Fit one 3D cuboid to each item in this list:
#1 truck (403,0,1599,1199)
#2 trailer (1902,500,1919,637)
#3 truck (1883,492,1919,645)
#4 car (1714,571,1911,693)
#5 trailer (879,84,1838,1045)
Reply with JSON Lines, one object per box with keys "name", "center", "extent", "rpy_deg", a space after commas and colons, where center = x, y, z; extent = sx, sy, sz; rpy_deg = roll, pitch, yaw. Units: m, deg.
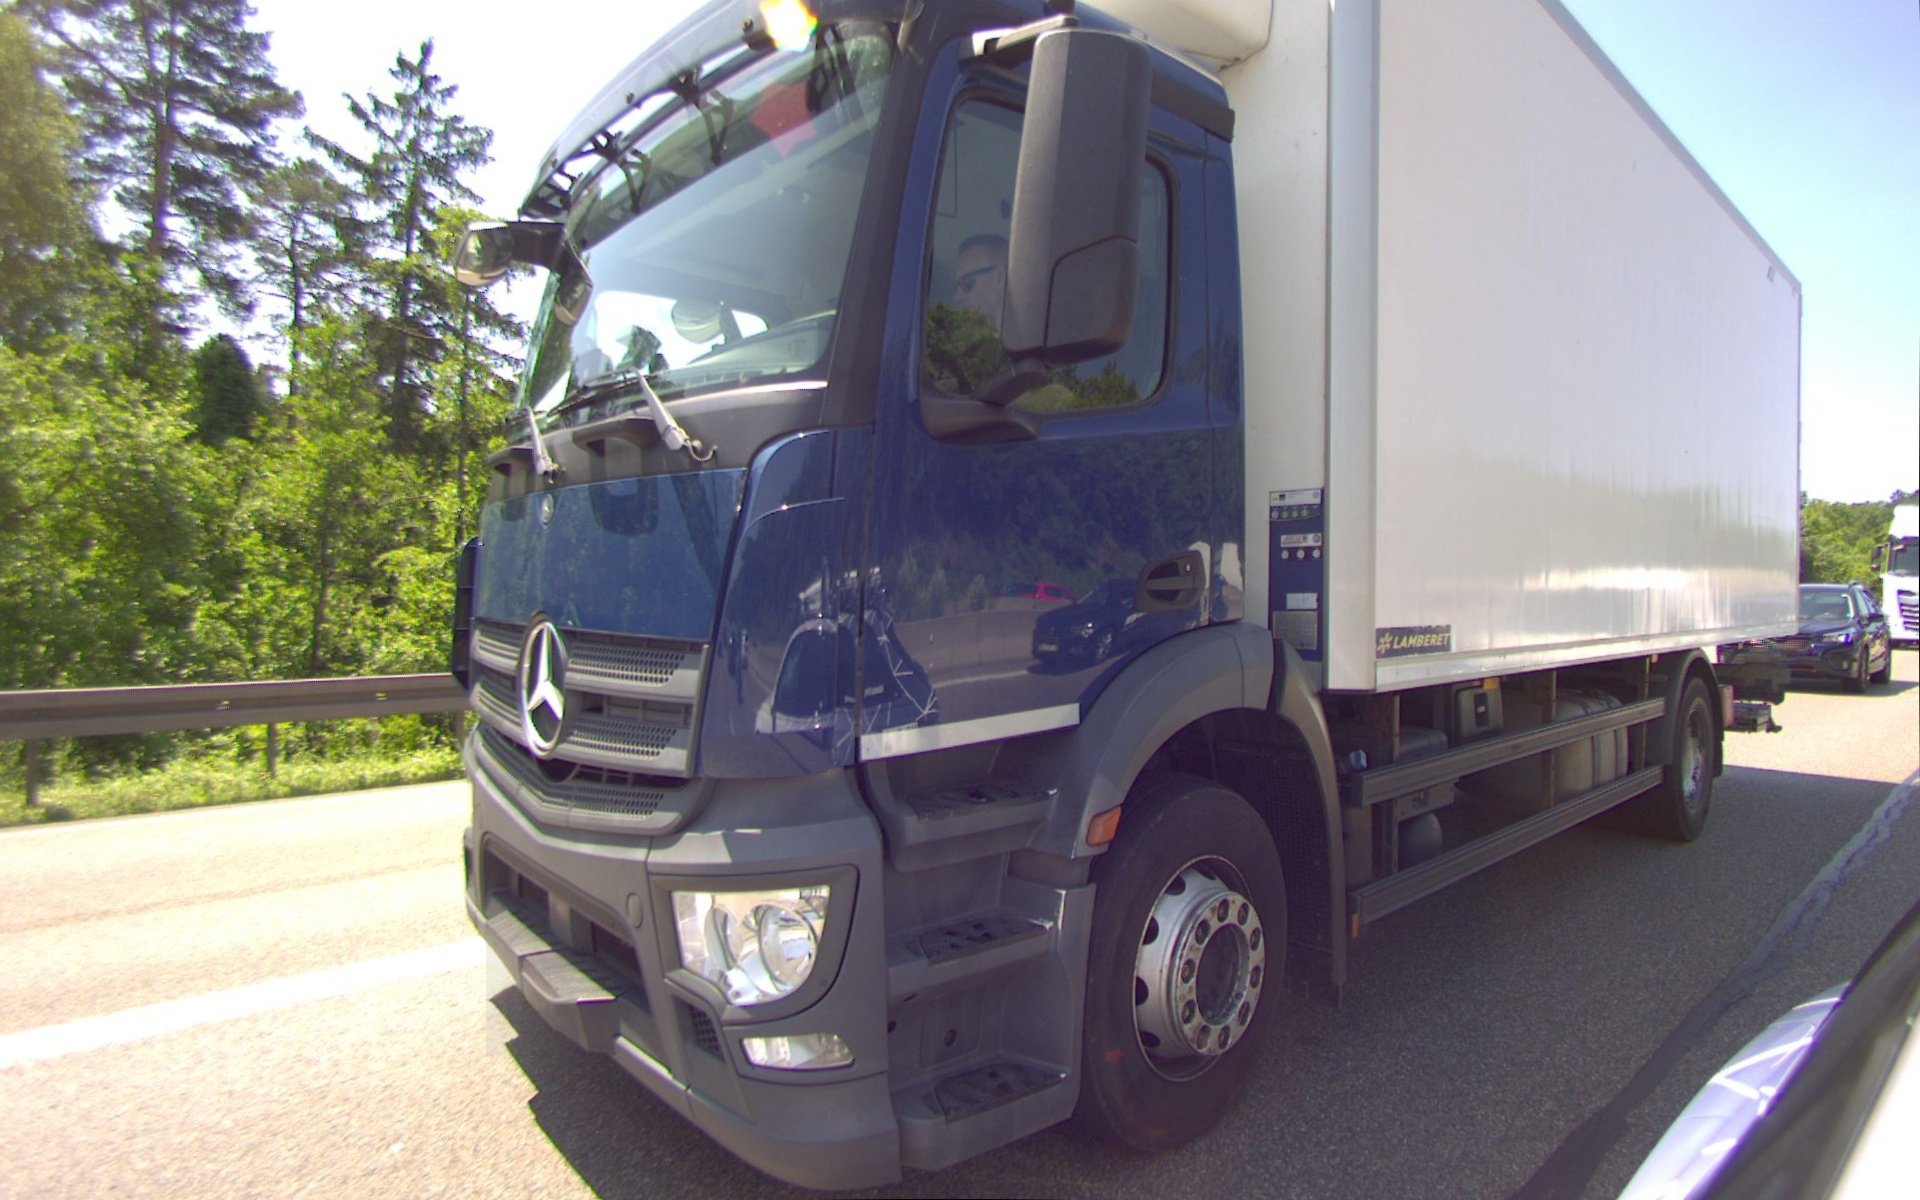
{"name": "truck", "center": [0.350, -0.092, 3.984], "extent": [4.032, 2.976, 2.561], "rpy_deg": [-1, 2, -40]}
{"name": "trailer", "center": [33.880, -1.028, 33.458], "extent": [11.416, 4.133, 2.765], "rpy_deg": [-2, 3, -41]}
{"name": "truck", "center": [28.998, -0.915, 29.156], "extent": [7.207, 4.135, 2.764], "rpy_deg": [-1, 1, -41]}
{"name": "car", "center": [14.247, 0.392, 16.813], "extent": [4.535, 1.713, 1.996], "rpy_deg": [-2, 3, -44]}
{"name": "trailer", "center": [3.345, -0.145, 6.613], "extent": [7.744, 2.935, 2.560], "rpy_deg": [0, 1, -41]}
